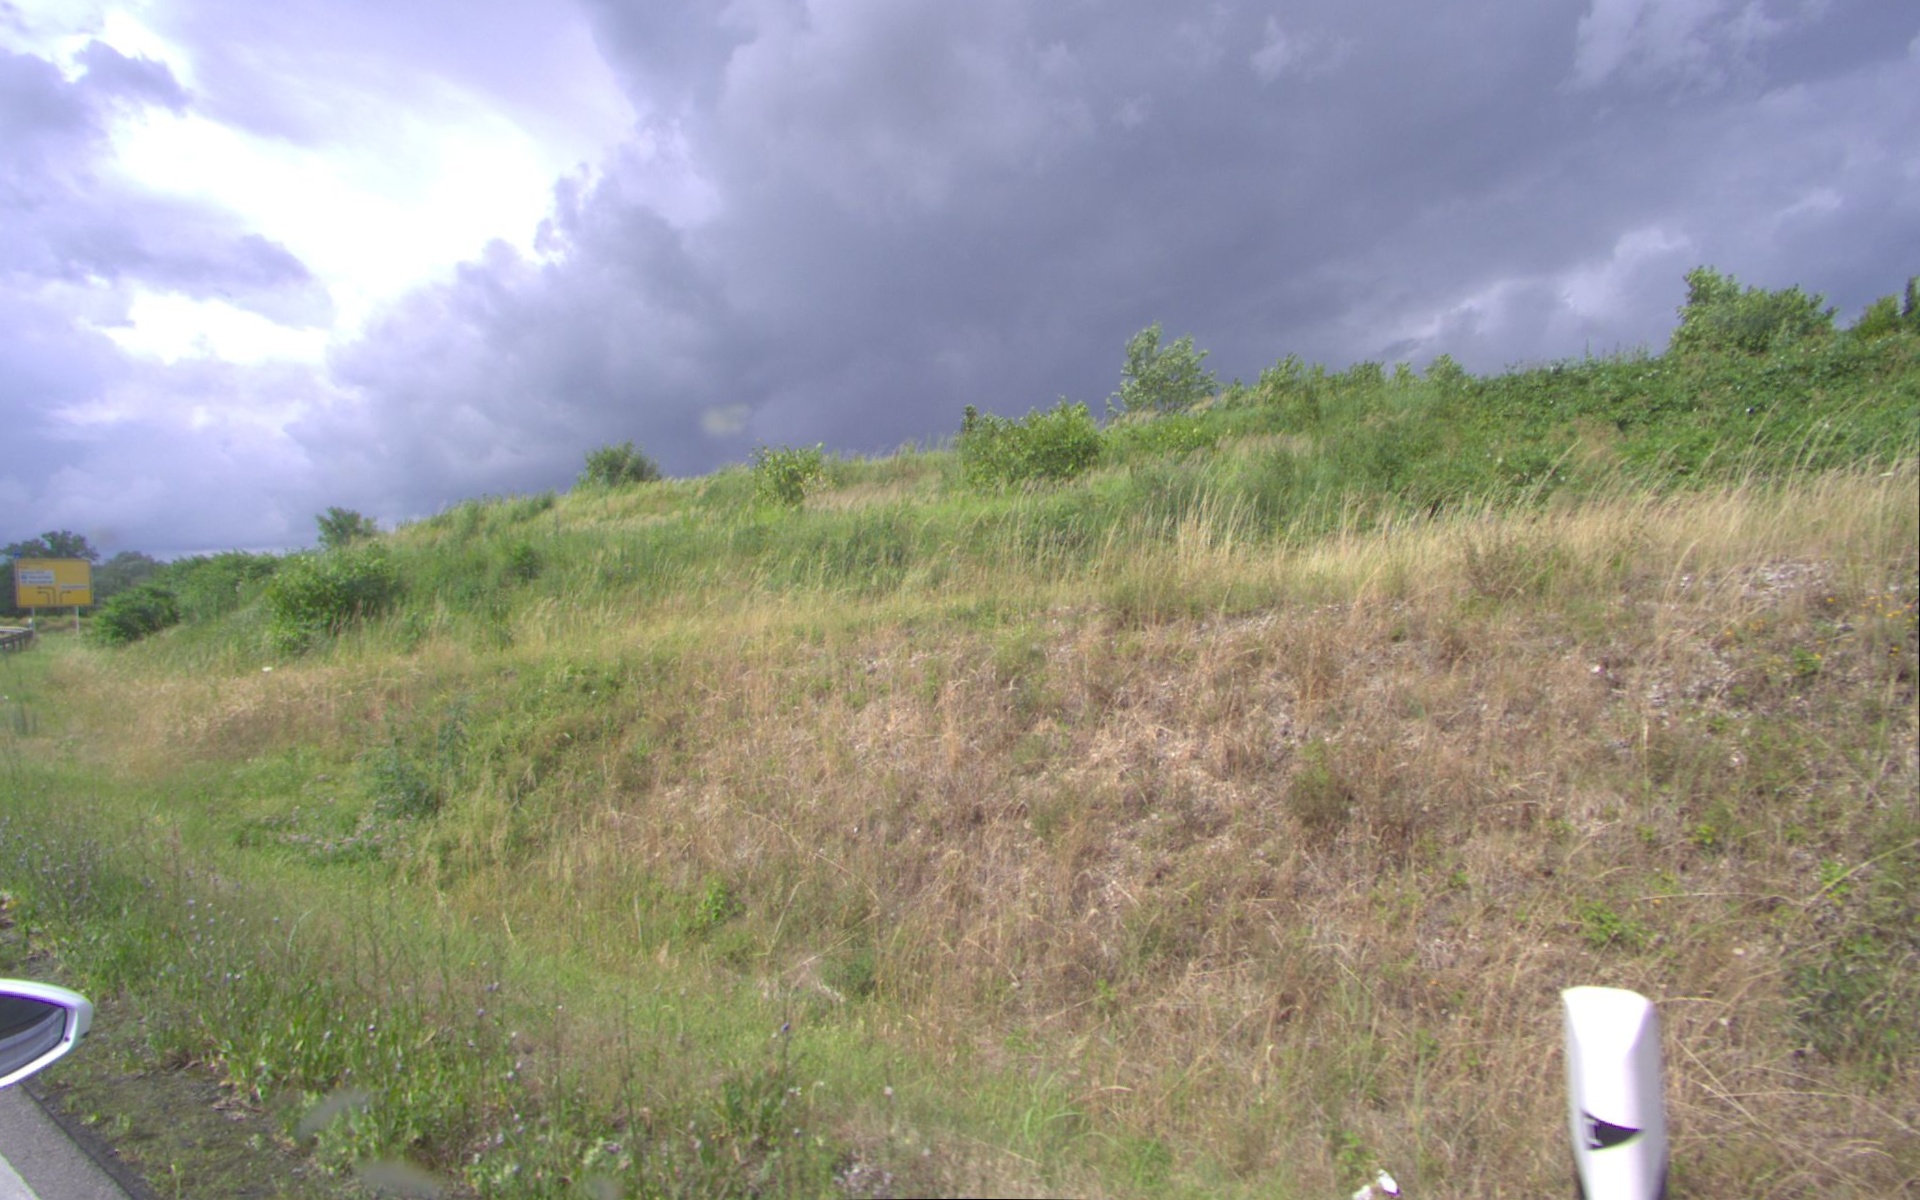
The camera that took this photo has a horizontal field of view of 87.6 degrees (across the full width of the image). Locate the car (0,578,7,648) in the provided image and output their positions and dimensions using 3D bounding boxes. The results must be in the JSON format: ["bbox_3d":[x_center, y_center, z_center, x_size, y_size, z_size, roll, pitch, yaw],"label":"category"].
[{"bbox_3d":[-43.676,0.540,43.810,2.292,3.107,6.610,1,-2,-39],"label":"car"}]
